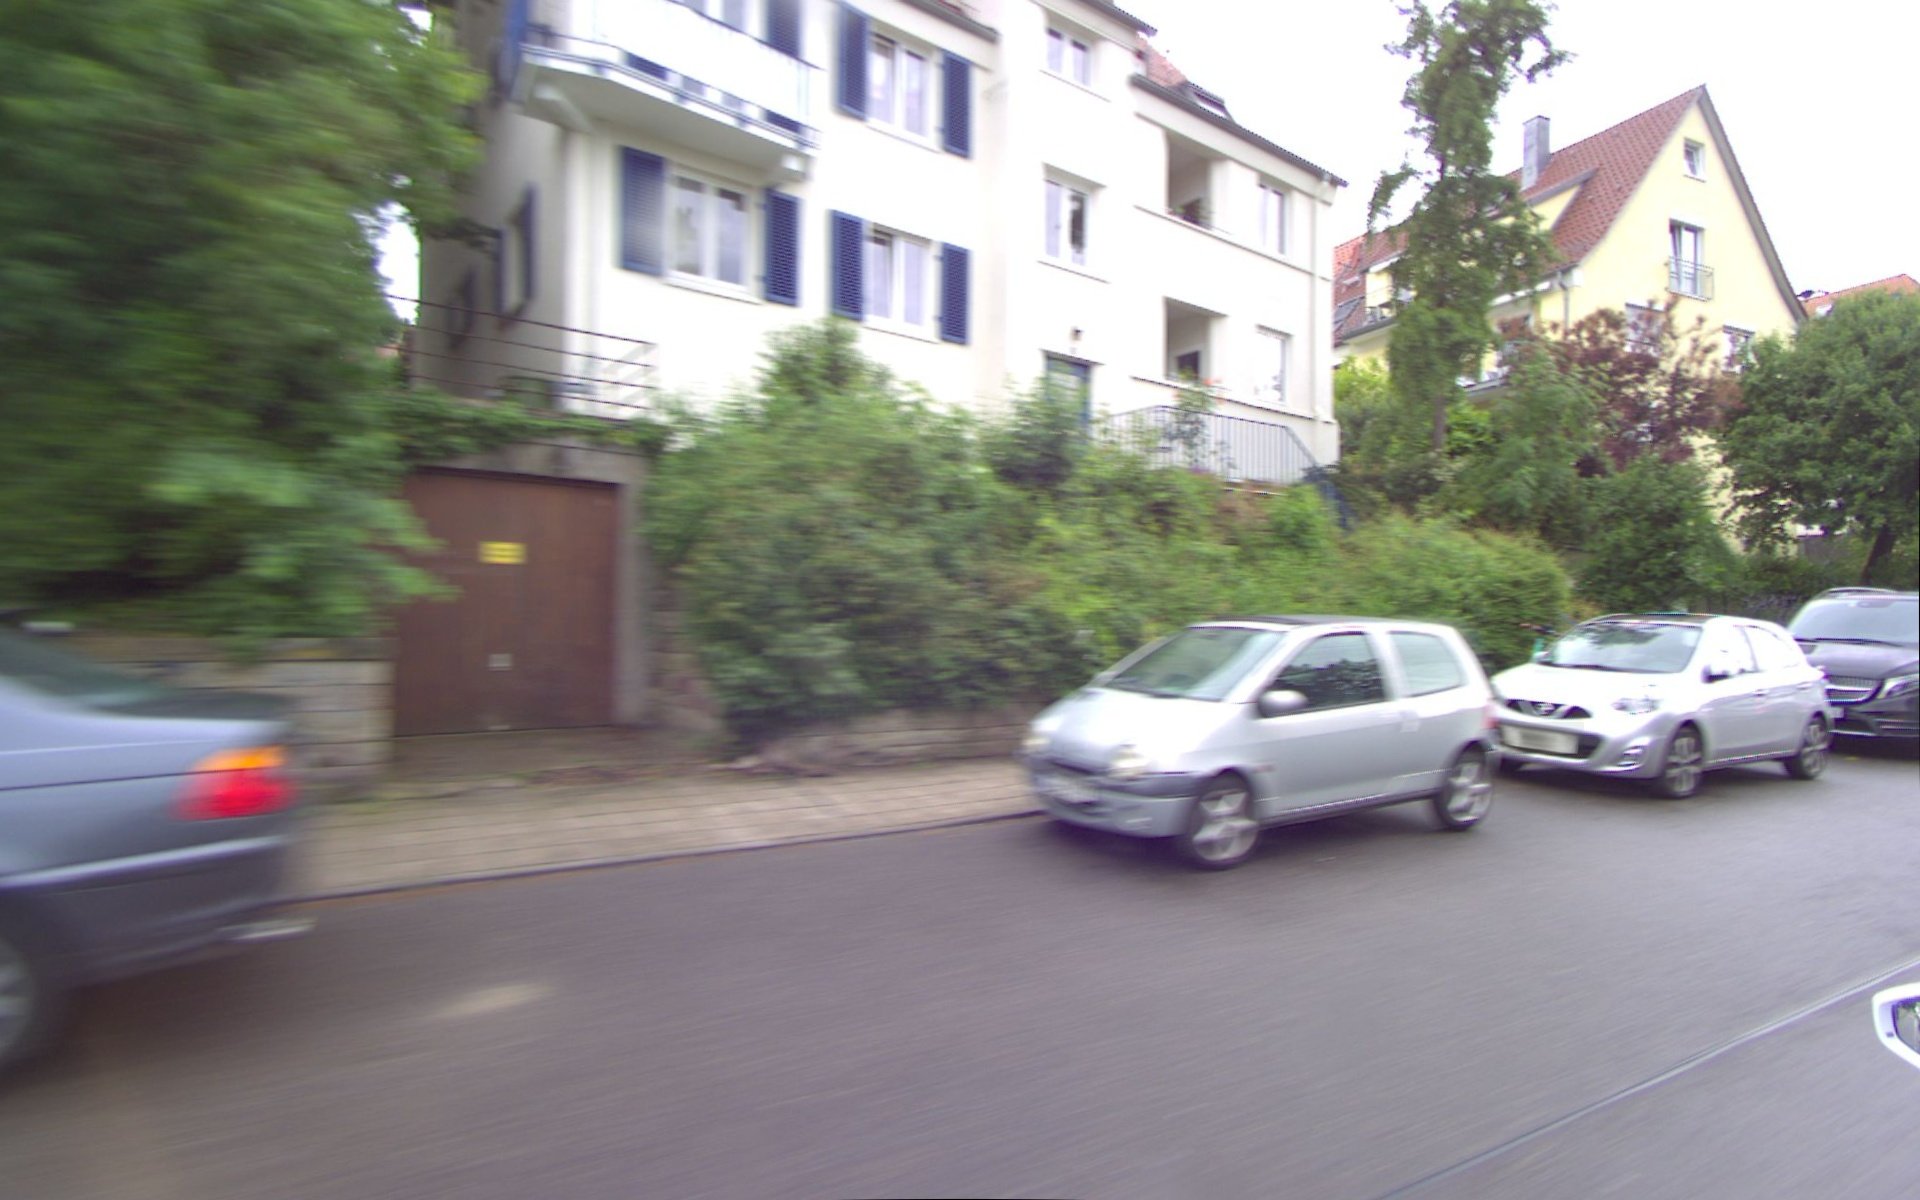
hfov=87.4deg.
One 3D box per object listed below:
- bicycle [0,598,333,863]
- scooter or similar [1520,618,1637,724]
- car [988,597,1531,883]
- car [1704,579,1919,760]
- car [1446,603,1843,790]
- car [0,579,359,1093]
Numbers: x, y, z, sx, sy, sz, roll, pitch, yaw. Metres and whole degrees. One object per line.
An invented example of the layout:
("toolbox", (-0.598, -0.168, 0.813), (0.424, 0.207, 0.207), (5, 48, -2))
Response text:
("bicycle", (-4.873, 0.660, 5.615), (2.264, 1.319, 0.999), (-1, 1, -31))
("scooter or similar", (8.162, 0.903, 13.225), (1.896, 1.273, 0.498), (-1, 1, -31))
("car", (2.132, 0.733, 6.927), (3.586, 1.466, 1.638), (-1, 1, -32))
("car", (11.905, 0.760, 12.740), (5.292, 1.903, 1.984), (1, 1, -30))
("car", (6.588, 0.806, 9.603), (3.769, 1.466, 1.686), (2, -1, -30))
("car", (-4.309, 0.686, 2.918), (4.366, 1.466, 1.747), (-1, 1, -32))
